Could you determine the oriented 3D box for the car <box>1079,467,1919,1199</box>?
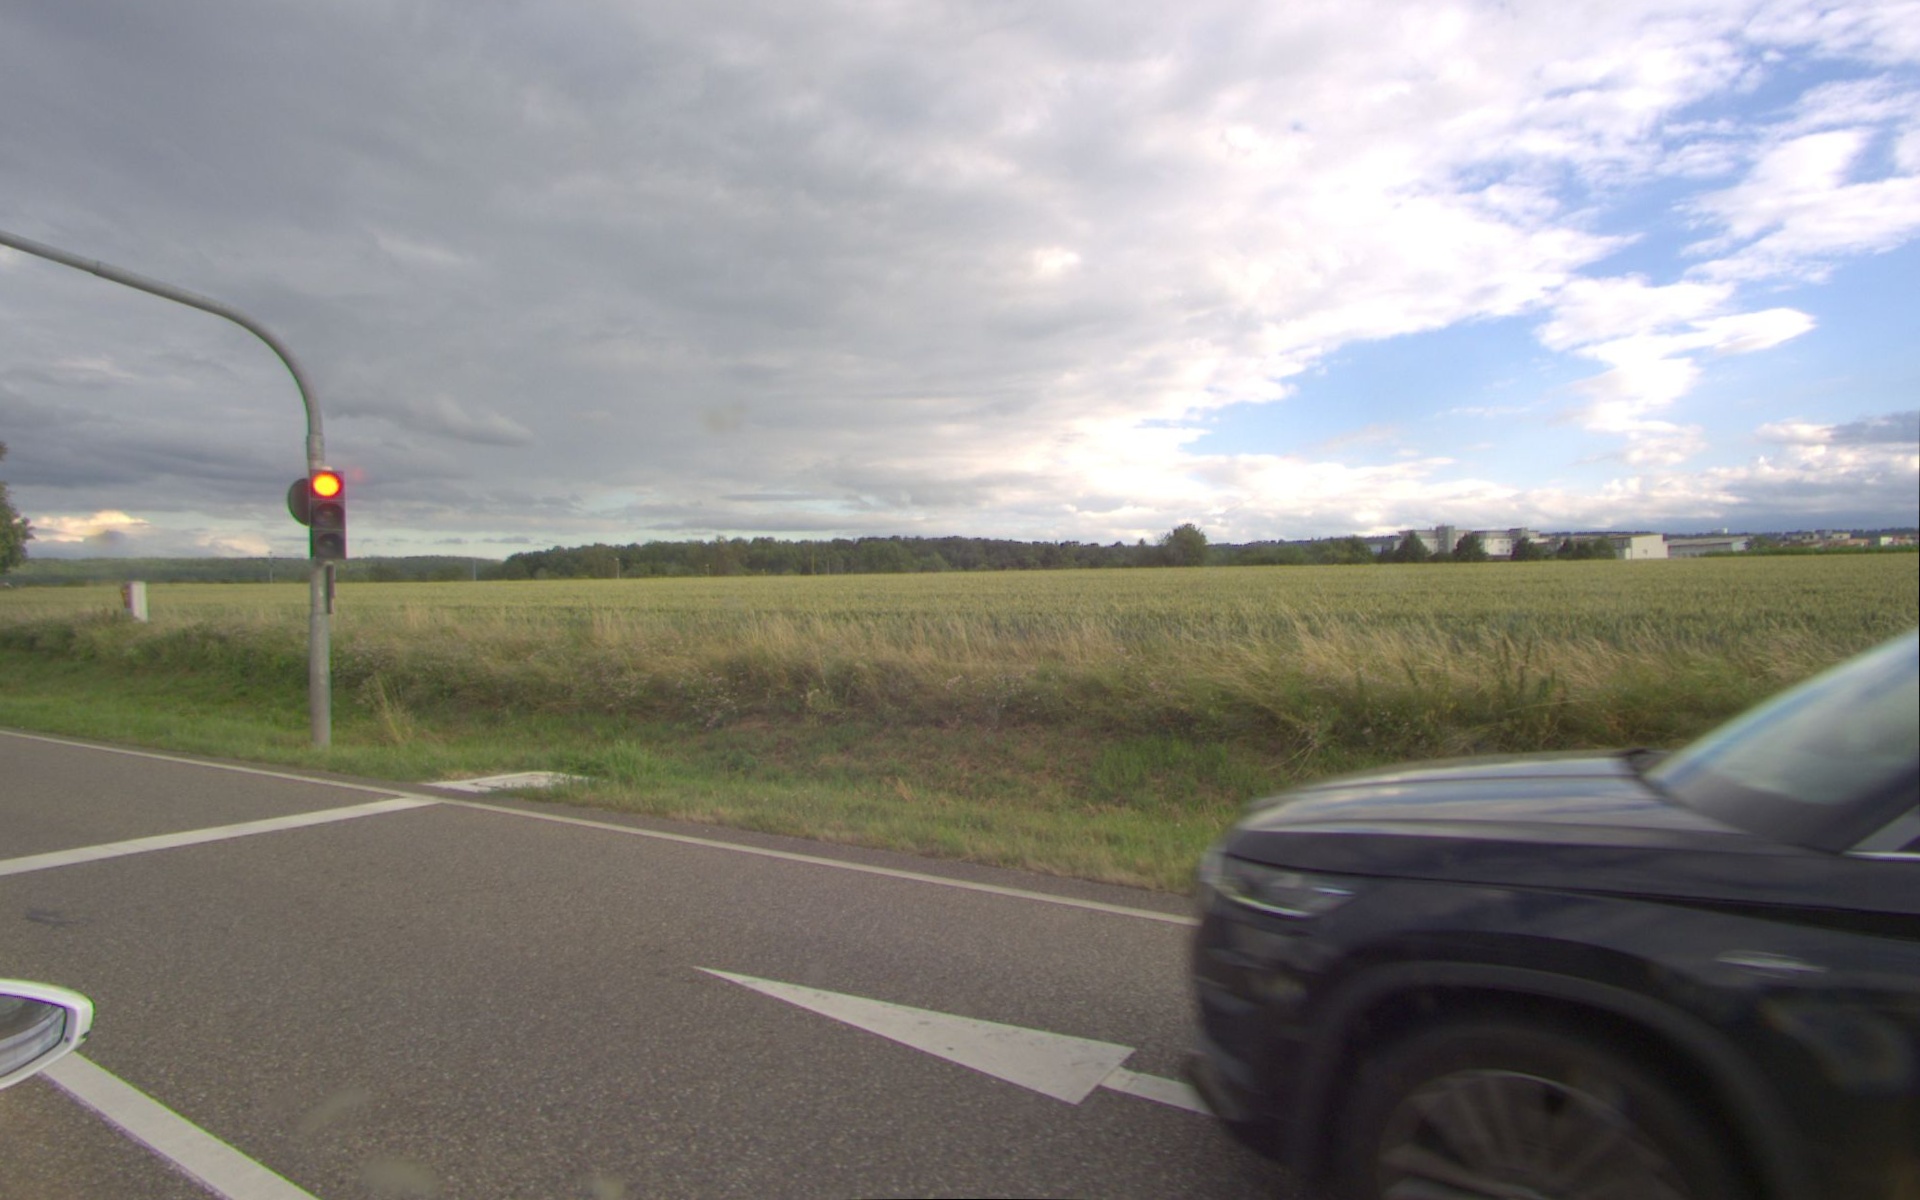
[{"bbox_3d":[2.656,0.666,1.941,4.492,1.730,1.833,-1,-2,32],"label":"car"}]
